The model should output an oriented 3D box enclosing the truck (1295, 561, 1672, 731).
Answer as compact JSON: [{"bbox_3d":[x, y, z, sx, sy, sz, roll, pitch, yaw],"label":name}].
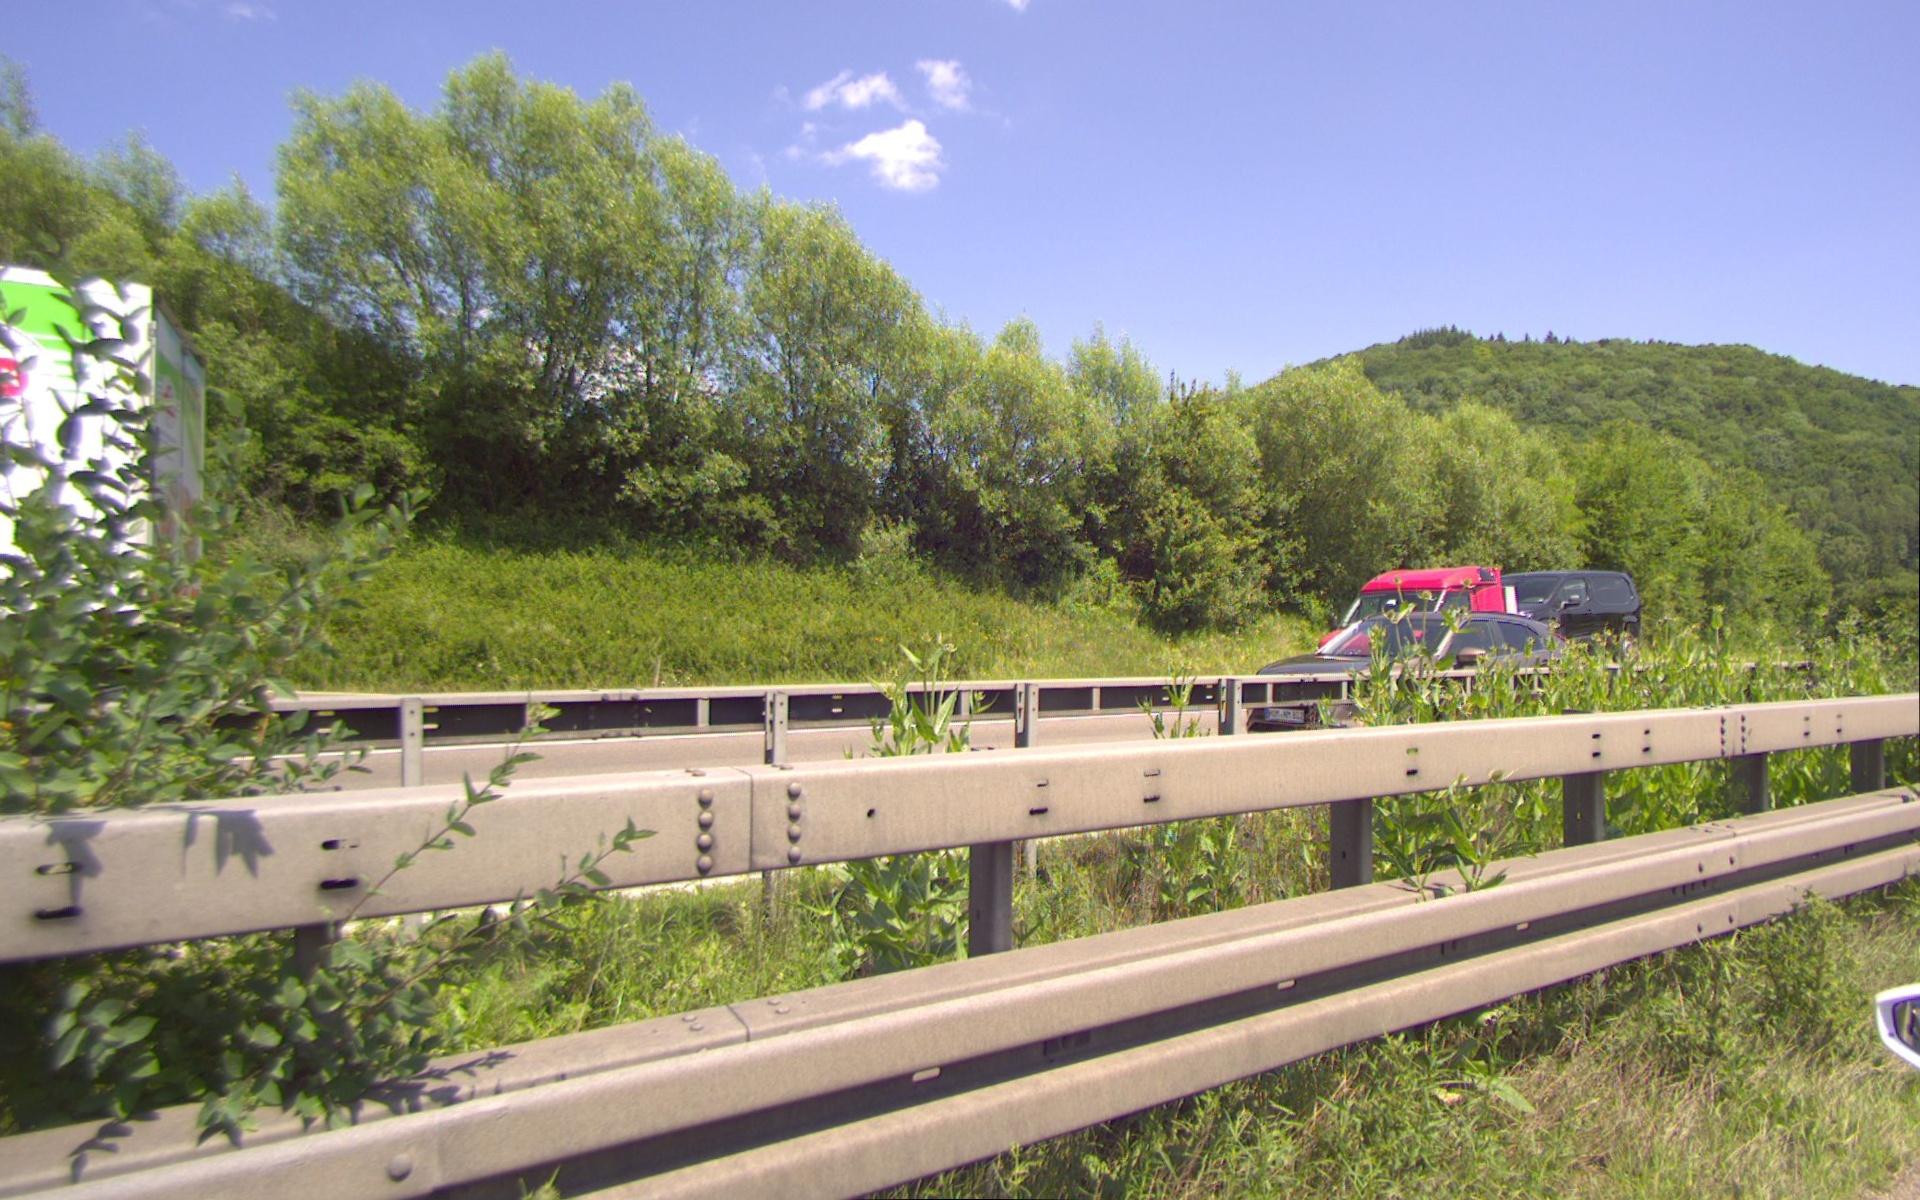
[{"bbox_3d":[9.793,0.778,18.422,7.874,2.623,2.285,1,0,-30],"label":"truck"}]

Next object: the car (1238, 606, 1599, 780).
[{"bbox_3d":[5.160,0.915,11.192,3.955,1.620,1.767,1,-1,-32],"label":"car"}]

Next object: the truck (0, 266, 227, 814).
[{"bbox_3d":[-10.733,-0.488,6.841,8.928,4.033,2.855,2,-2,-31],"label":"truck"}]

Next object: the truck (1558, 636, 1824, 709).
[{"bbox_3d":[16.233,1.521,22.156,6.928,1.351,2.198,2,-1,-31],"label":"truck"}]
